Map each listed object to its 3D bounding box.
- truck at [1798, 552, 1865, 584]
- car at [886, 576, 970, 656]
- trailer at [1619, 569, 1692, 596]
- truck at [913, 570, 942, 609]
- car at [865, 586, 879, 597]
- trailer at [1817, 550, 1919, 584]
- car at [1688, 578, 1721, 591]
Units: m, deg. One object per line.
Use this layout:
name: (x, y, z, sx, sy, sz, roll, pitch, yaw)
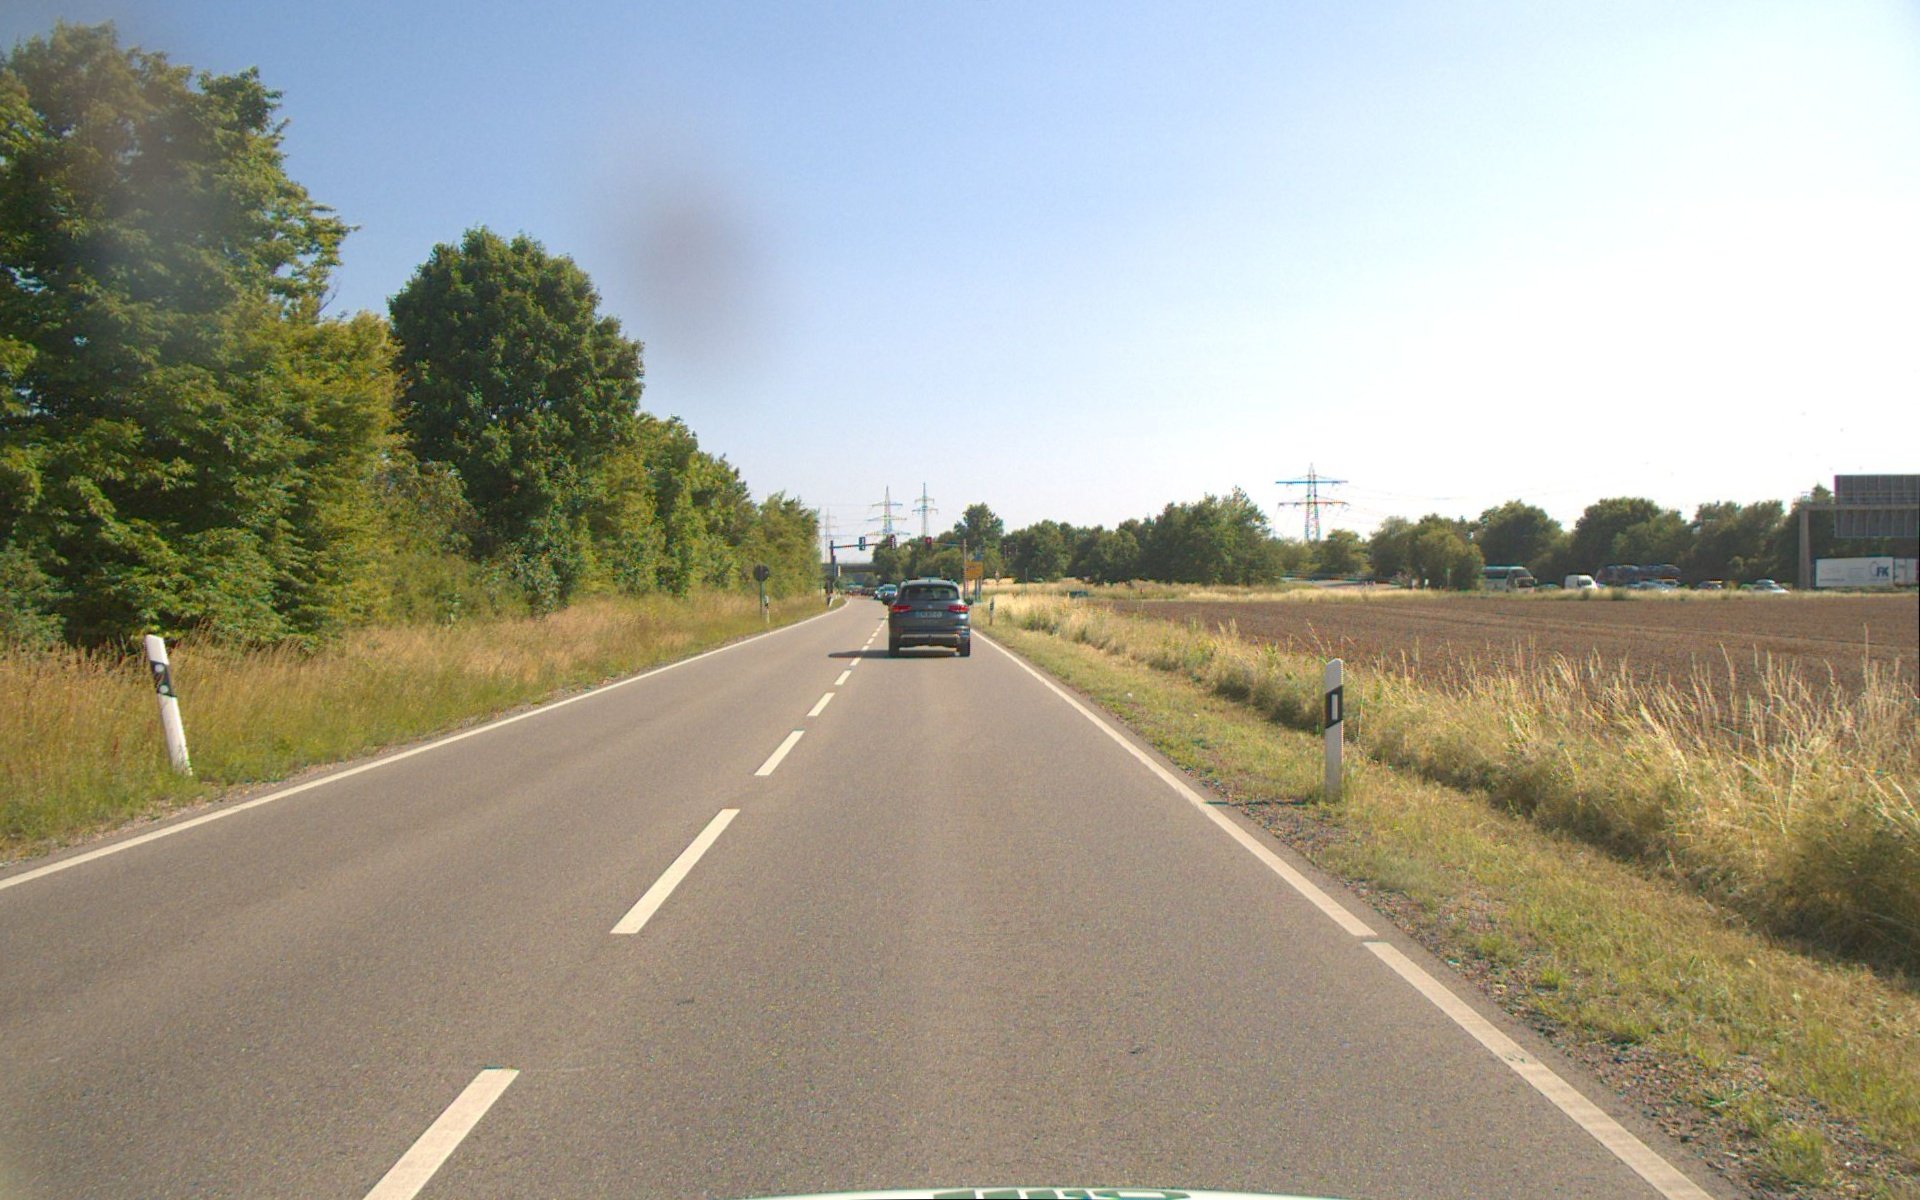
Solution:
truck: (93.896, -3.392, 178.290, 3.219, 3.324, 6.975, -1, 0, -3)
car: (-0.727, 0.299, 36.302, 1.749, 1.657, 3.999, 0, 1, -2)
trailer: (90.563, -2.356, 215.647, 3.219, 3.324, 13.446, -1, 1, -3)
truck: (-2.666, -0.862, 135.676, 2.290, 3.120, 5.808, 0, 0, -1)
car: (-10.978, -1.065, 205.754, 1.651, 1.404, 3.530, 0, 1, -5)
trailer: (94.245, -3.361, 171.924, 3.219, 3.324, 12.449, -1, 0, -3)
car: (87.120, -1.801, 193.557, 1.813, 1.409, 4.246, 1, 1, -2)
